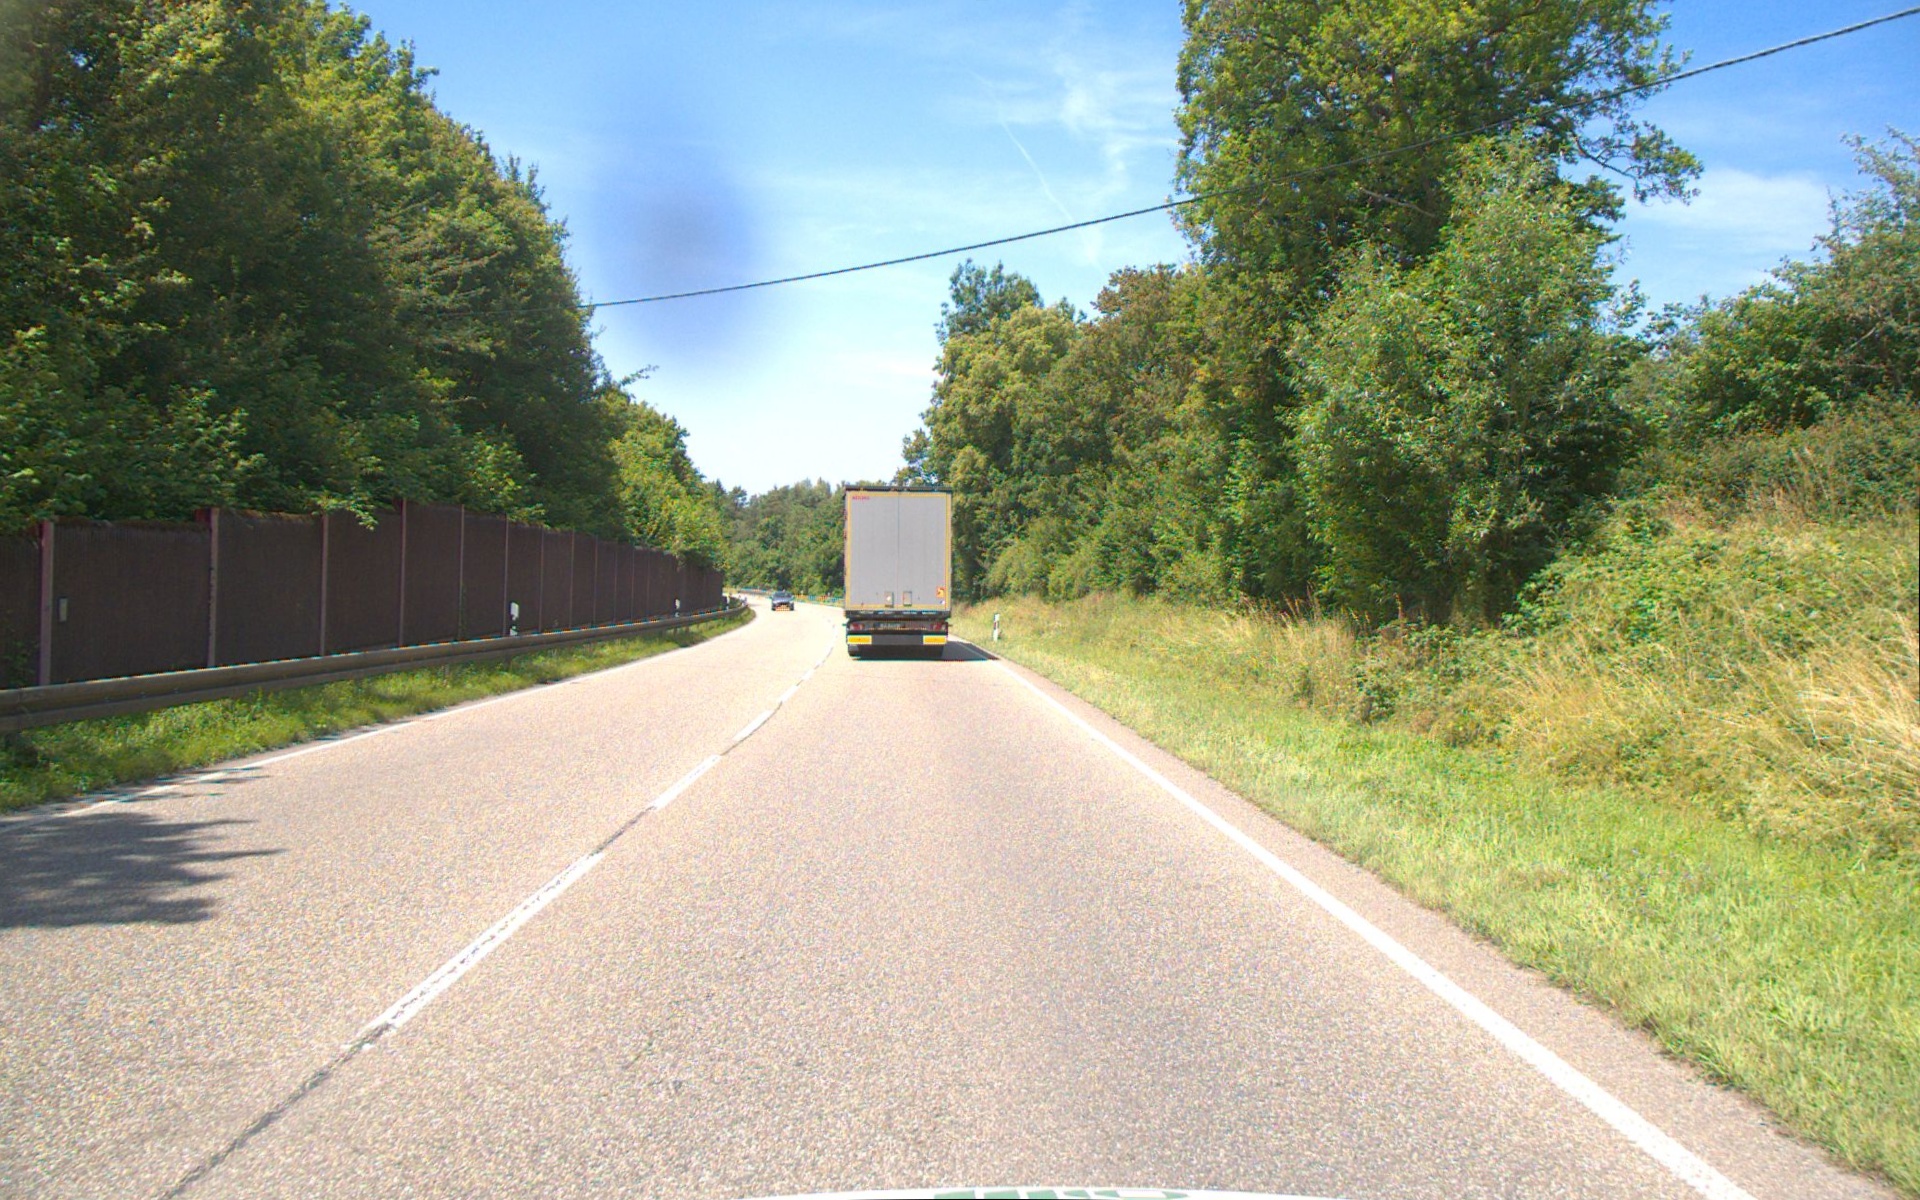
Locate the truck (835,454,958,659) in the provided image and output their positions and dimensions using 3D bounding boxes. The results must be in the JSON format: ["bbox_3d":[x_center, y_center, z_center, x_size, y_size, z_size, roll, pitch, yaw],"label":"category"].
[{"bbox_3d":[-1.513,-0.963,41.334,2.765,4.684,6.663,1,-1,-1],"label":"truck"}]

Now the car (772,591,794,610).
[{"bbox_3d":[-14.750,0.017,137.864,1.587,1.517,3.608,0,0,-10],"label":"car"}]
